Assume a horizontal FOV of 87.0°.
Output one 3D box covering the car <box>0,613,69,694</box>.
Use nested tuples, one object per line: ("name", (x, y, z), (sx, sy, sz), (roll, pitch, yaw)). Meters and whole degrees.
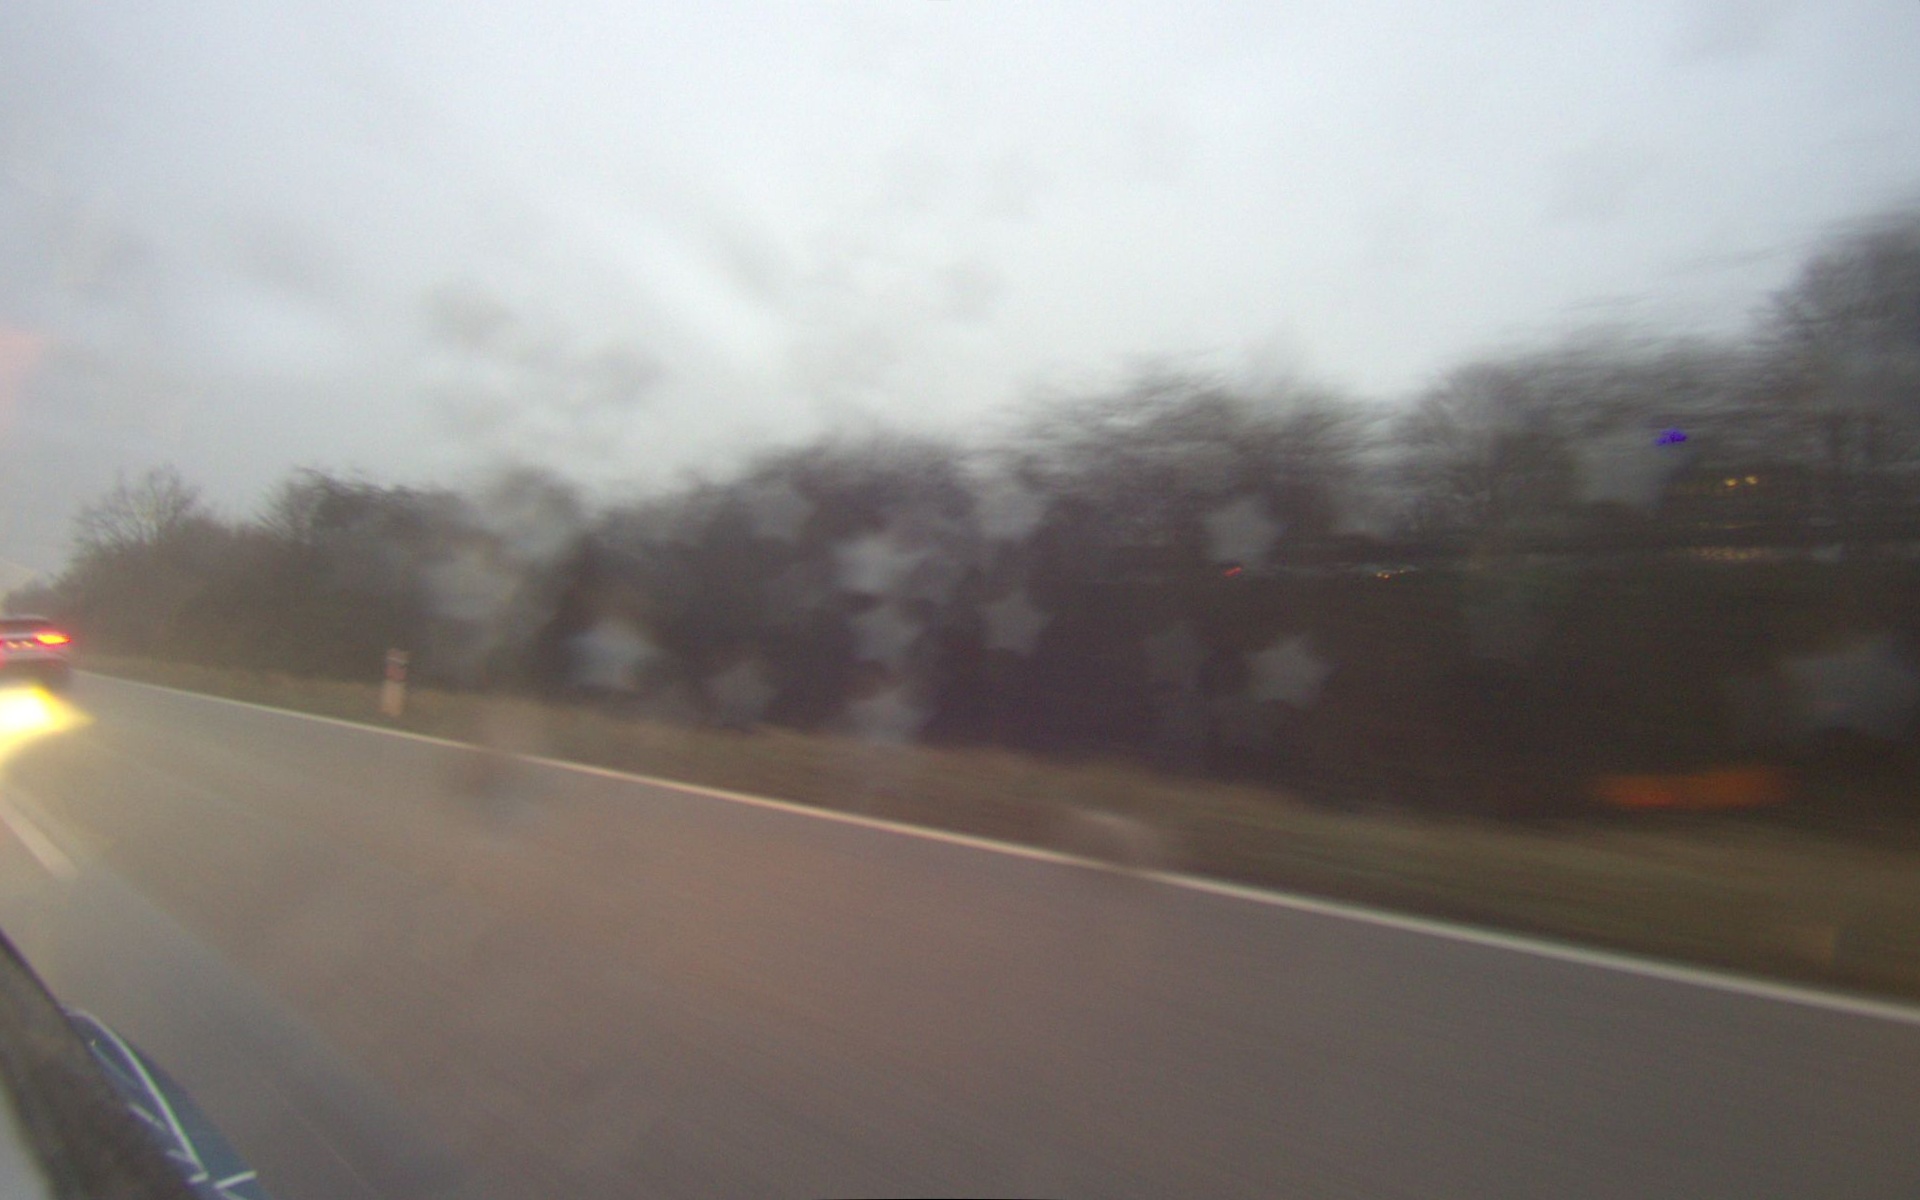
("car", (-22.197, 1.219, 23.425), (4.466, 1.713, 1.843), (-2, -1, 42))
